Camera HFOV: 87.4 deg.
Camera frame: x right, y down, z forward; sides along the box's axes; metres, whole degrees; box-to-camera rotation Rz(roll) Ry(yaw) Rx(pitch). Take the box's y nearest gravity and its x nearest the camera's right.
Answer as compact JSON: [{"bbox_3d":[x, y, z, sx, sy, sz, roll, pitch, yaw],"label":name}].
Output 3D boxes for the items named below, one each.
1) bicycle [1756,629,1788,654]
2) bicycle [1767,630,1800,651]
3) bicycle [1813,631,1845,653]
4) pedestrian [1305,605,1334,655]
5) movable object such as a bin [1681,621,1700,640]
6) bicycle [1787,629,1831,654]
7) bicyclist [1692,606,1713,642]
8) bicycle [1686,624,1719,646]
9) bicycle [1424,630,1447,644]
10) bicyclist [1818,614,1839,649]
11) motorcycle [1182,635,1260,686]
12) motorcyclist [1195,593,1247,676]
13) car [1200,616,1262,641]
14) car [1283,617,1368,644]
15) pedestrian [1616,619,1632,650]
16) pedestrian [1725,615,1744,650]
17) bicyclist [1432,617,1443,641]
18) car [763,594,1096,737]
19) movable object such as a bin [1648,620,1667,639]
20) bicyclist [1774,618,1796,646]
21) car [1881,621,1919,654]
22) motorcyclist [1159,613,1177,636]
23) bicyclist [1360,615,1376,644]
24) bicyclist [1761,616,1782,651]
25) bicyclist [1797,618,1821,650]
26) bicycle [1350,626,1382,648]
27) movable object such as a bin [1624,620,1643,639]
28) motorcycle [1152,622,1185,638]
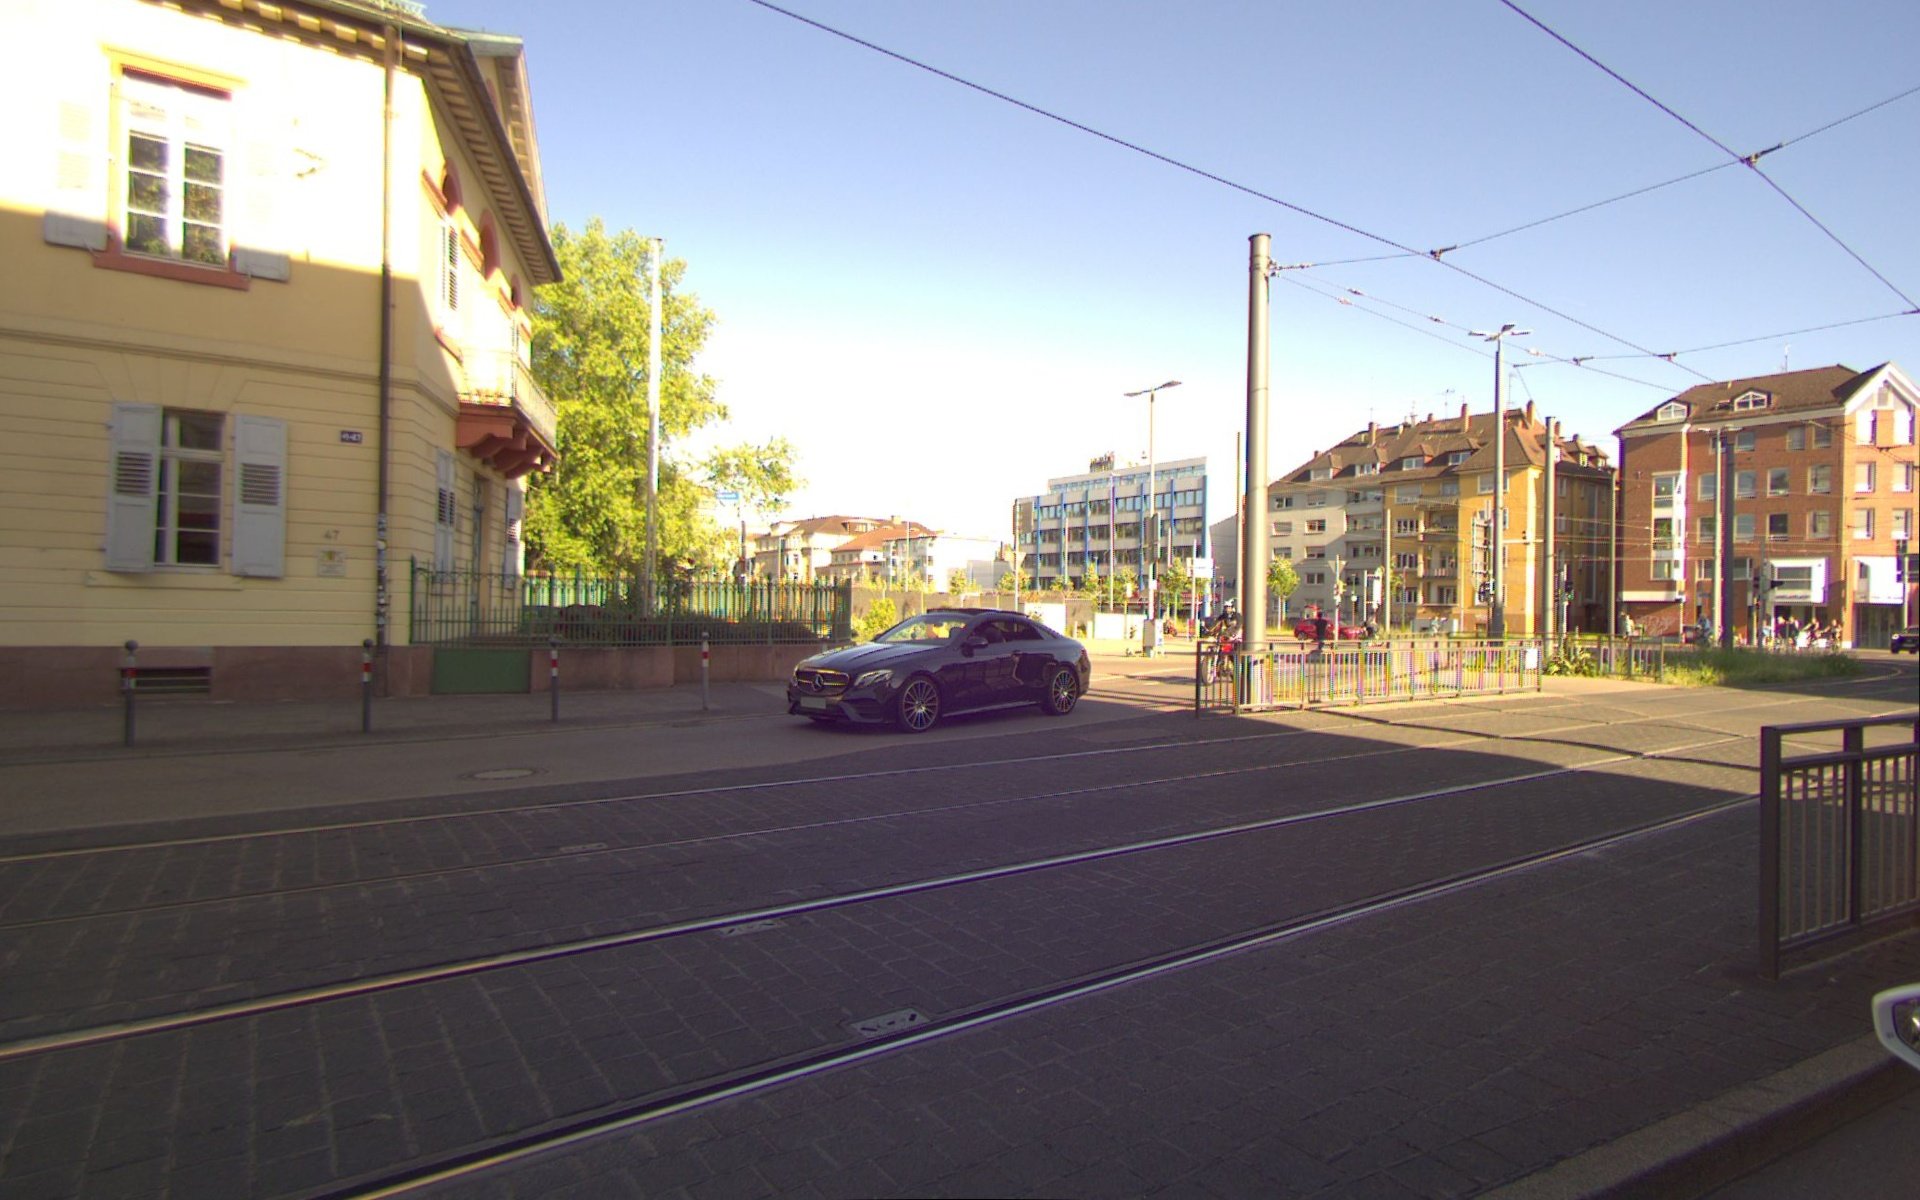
[{"bbox_3d":[40.548,2.081,50.150,1.862,1.230,0.527,2,0,-29],"label":"bicycle"},{"bbox_3d":[43.460,2.146,53.011,1.862,1.027,0.647,2,0,-29],"label":"bicycle"},{"bbox_3d":[42.721,2.073,49.376,1.873,1.027,0.527,2,0,-29],"label":"bicycle"},{"bbox_3d":[14.241,1.176,39.750,0.784,1.959,0.724,2,0,-9],"label":"pedestrian"},{"bbox_3d":[56.709,2.365,77.976,1.087,1.456,0.988,2,0,-39],"label":"movable object such as a bin"},{"bbox_3d":[45.828,2.240,54.218,1.989,1.308,0.575,2,0,-6],"label":"bicycle"},{"bbox_3d":[36.019,1.158,48.709,0.761,1.695,0.518,2,0,-29],"label":"bicyclist"},{"bbox_3d":[36.027,1.711,48.724,1.862,1.027,0.527,2,0,-29],"label":"bicycle"},{"bbox_3d":[27.394,2.144,57.851,1.160,0.774,0.318,2,0,45],"label":"bicycle"},{"bbox_3d":[42.666,1.535,49.345,0.761,1.695,0.522,2,0,-28],"label":"bicyclist"},{"bbox_3d":[5.220,1.180,19.991,0.592,0.939,2.145,2,0,41],"label":"motorcycle"},{"bbox_3d":[5.188,0.675,19.947,0.645,1.579,0.880,2,0,42],"label":"motorcyclist"},{"bbox_3d":[17.605,1.817,65.367,1.560,1.491,3.673,2,0,-36],"label":"car"},{"bbox_3d":[21.754,1.805,59.869,1.768,1.529,4.513,1,-2,-39],"label":"car"},{"bbox_3d":[37.582,1.946,56.860,0.700,1.711,0.619,-1,2,-42],"label":"pedestrian"},{"bbox_3d":[45.385,1.919,58.857,0.819,2.040,0.592,2,0,-27],"label":"pedestrian"},{"bbox_3d":[27.468,1.654,57.815,0.453,1.333,0.397,2,0,44],"label":"bicyclist"},{"bbox_3d":[-0.190,0.767,13.164,1.756,1.529,4.648,-1,-2,39],"label":"car"},{"bbox_3d":[55.465,2.374,79.888,1.087,1.456,0.988,2,0,-39],"label":"movable object such as a bin"},{"bbox_3d":[43.673,1.685,53.151,0.721,1.473,0.661,2,0,-29],"label":"bicyclist"},{"bbox_3d":[49.852,1.964,52.265,4.074,1.581,1.676,2,0,-30],"label":"car"},{"bbox_3d":[14.447,1.724,69.732,0.775,1.544,0.914,2,0,-36],"label":"motorcyclist"},{"bbox_3d":[22.202,1.601,54.650,0.605,1.513,0.608,2,0,-44],"label":"bicyclist"},{"bbox_3d":[40.444,1.663,50.073,0.761,1.695,0.518,2,0,-29],"label":"bicyclist"},{"bbox_3d":[45.804,1.816,54.183,0.791,1.671,0.590,2,0,-5],"label":"bicyclist"},{"bbox_3d":[22.120,2.003,54.716,0.608,1.148,1.481,2,-1,-43],"label":"bicycle"},{"bbox_3d":[54.361,2.375,81.029,1.087,1.456,0.988,2,0,-39],"label":"movable object such as a bin"},{"bbox_3d":[14.452,2.080,69.722,0.784,0.997,2.342,2,0,-36],"label":"motorcycle"}]
